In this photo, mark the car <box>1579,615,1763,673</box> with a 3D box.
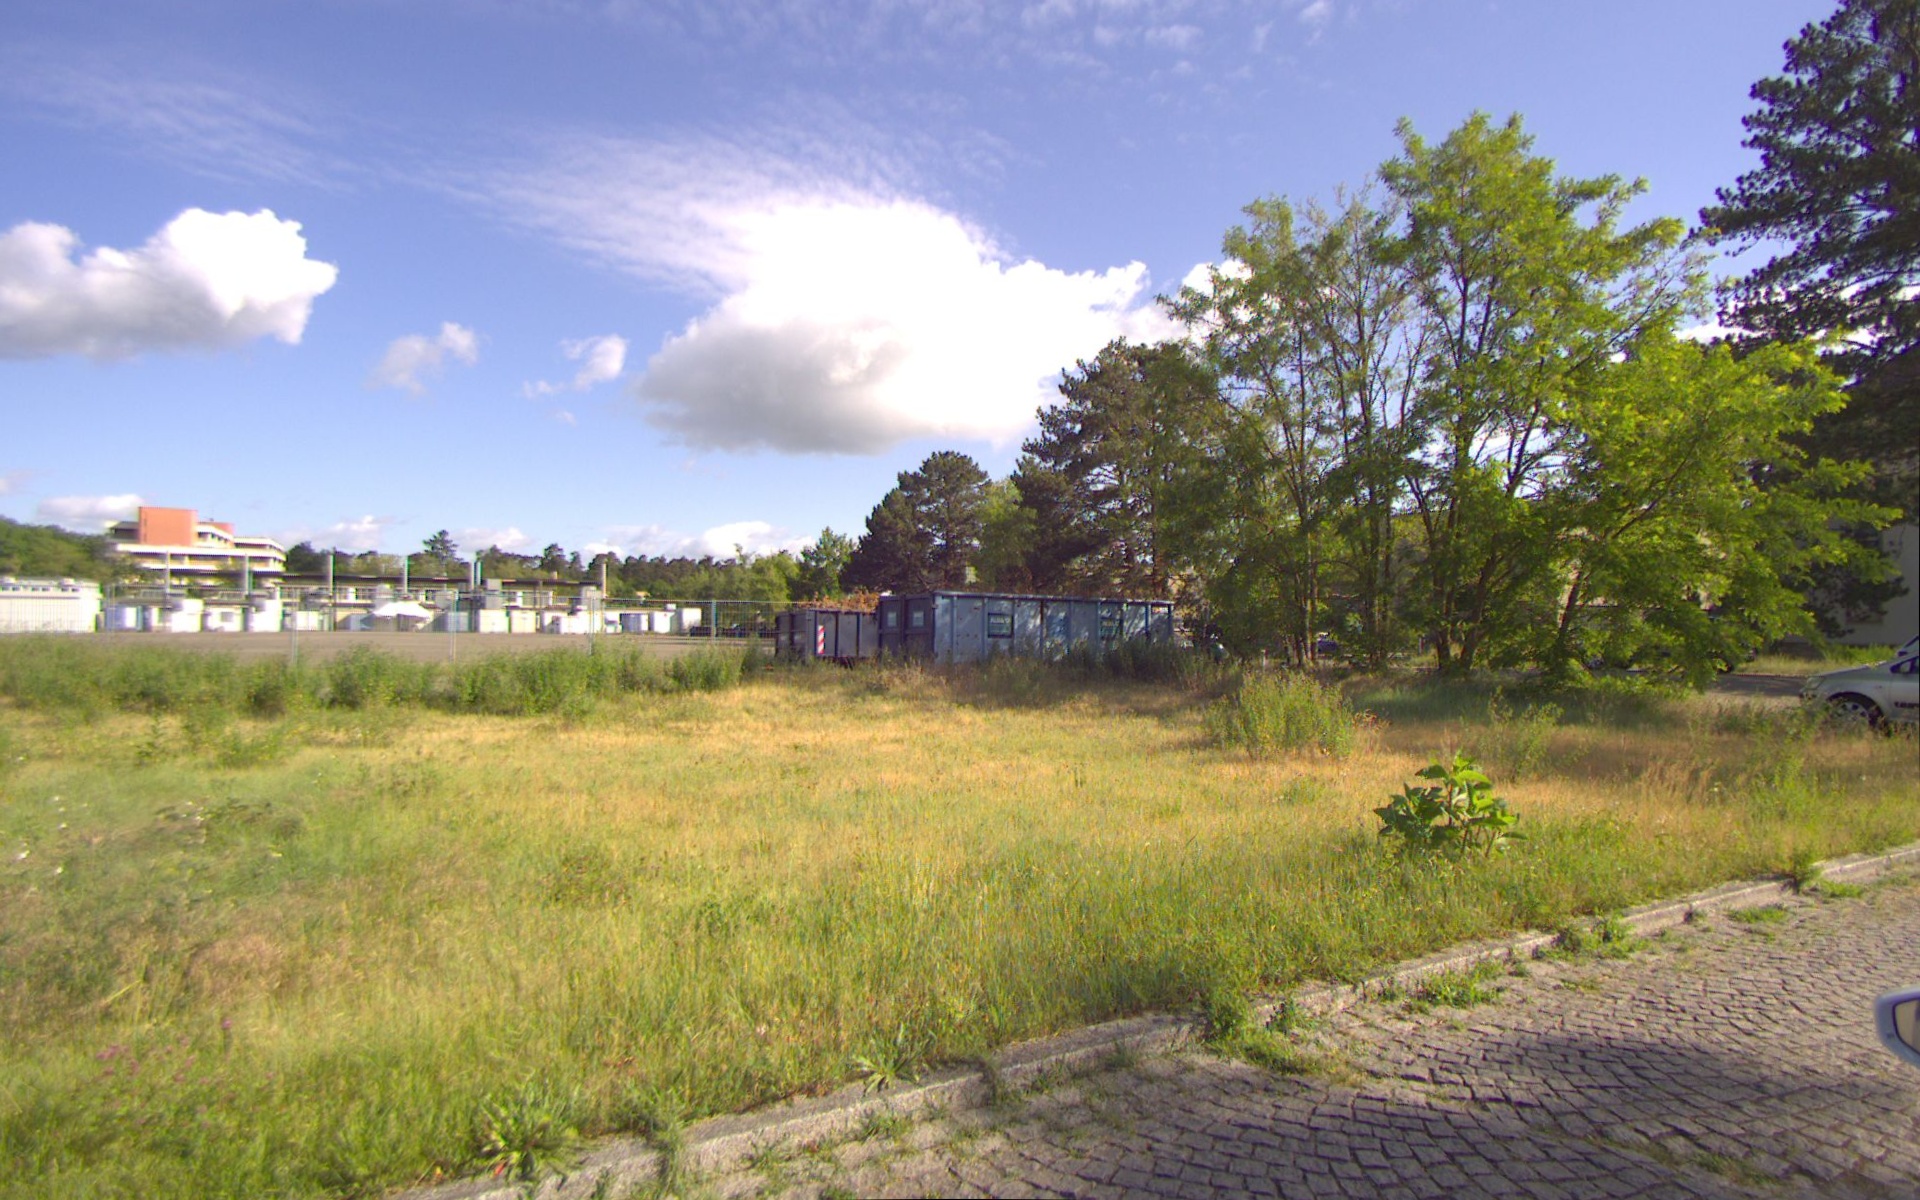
[{"bbox_3d":[21.425,1.293,30.442,1.984,1.630,4.128,1,-2,-28],"label":"car"}]

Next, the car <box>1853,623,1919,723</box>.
[{"bbox_3d":[15.768,1.192,14.521,1.671,1.464,3.919,1,2,-29],"label":"car"}]

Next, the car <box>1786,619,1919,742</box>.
[{"bbox_3d":[13.483,1.108,13.215,1.680,1.548,3.666,1,1,-31],"label":"car"}]

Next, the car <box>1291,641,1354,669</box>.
[{"bbox_3d":[24.808,3.742,68.728,3.950,1.802,1.859,1,-2,-27],"label":"car"}]

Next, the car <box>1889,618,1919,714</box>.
[{"bbox_3d":[17.927,1.190,16.284,1.641,1.637,3.861,1,1,-29],"label":"car"}]
